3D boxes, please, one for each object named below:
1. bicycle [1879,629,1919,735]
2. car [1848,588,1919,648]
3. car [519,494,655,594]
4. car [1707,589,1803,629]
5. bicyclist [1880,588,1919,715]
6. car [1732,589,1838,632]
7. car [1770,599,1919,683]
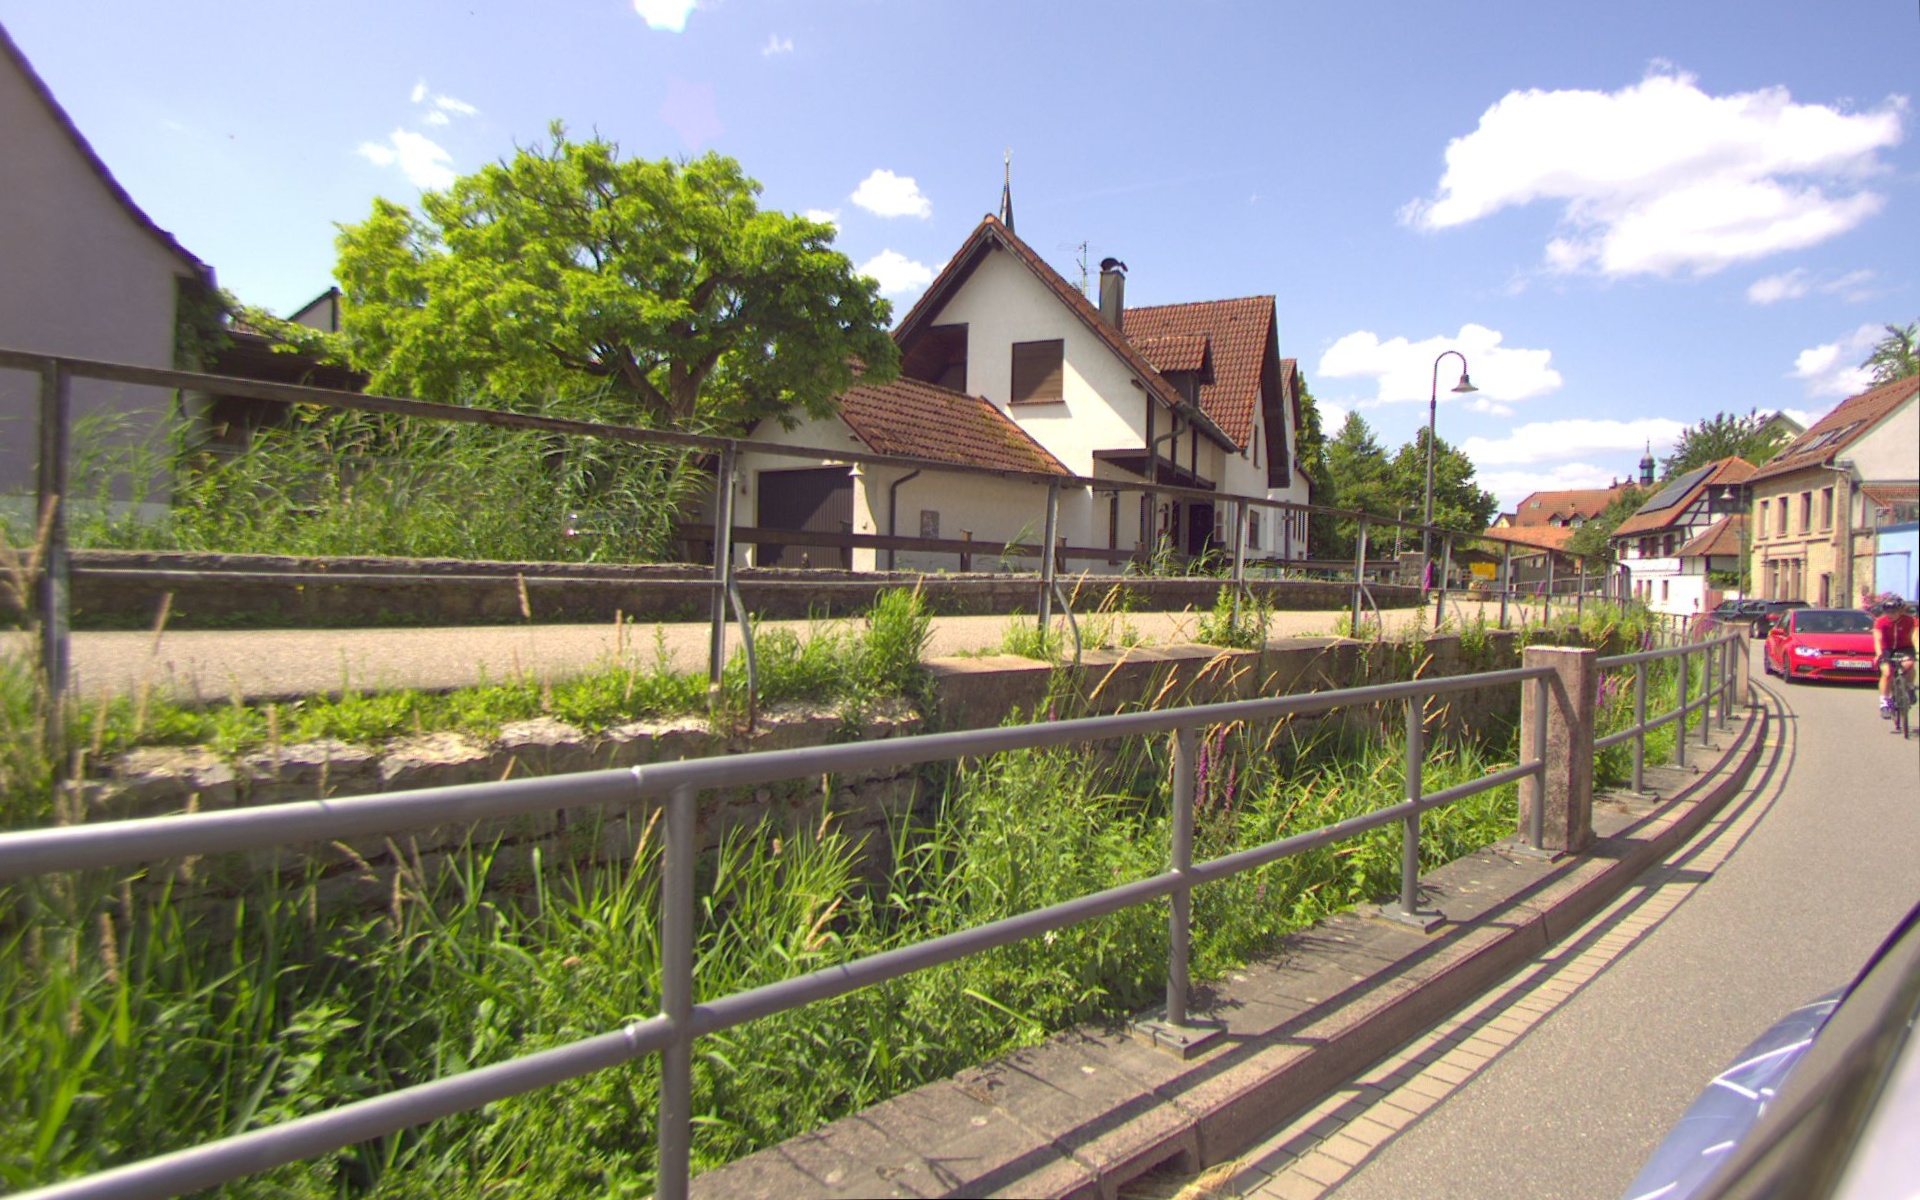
[{"bbox_3d":[10.978,0.903,11.645,0.530,1.090,2.021,0,0,44],"label":"bicycle"},{"bbox_3d":[26.951,0.459,28.589,1.704,1.549,3.823,-2,0,25],"label":"car"},{"bbox_3d":[-6.610,-0.909,17.727,1.722,1.545,3.520,0,1,-29],"label":"car"},{"bbox_3d":[33.253,0.344,42.459,1.940,1.484,4.513,1,2,22],"label":"car"},{"bbox_3d":[11.018,0.580,11.704,0.531,1.422,0.743,0,0,44],"label":"bicyclist"},{"bbox_3d":[31.036,0.382,38.226,1.870,1.483,4.629,-2,-1,24],"label":"car"},{"bbox_3d":[16.604,0.694,19.093,1.658,1.369,3.454,0,1,32],"label":"car"}]
